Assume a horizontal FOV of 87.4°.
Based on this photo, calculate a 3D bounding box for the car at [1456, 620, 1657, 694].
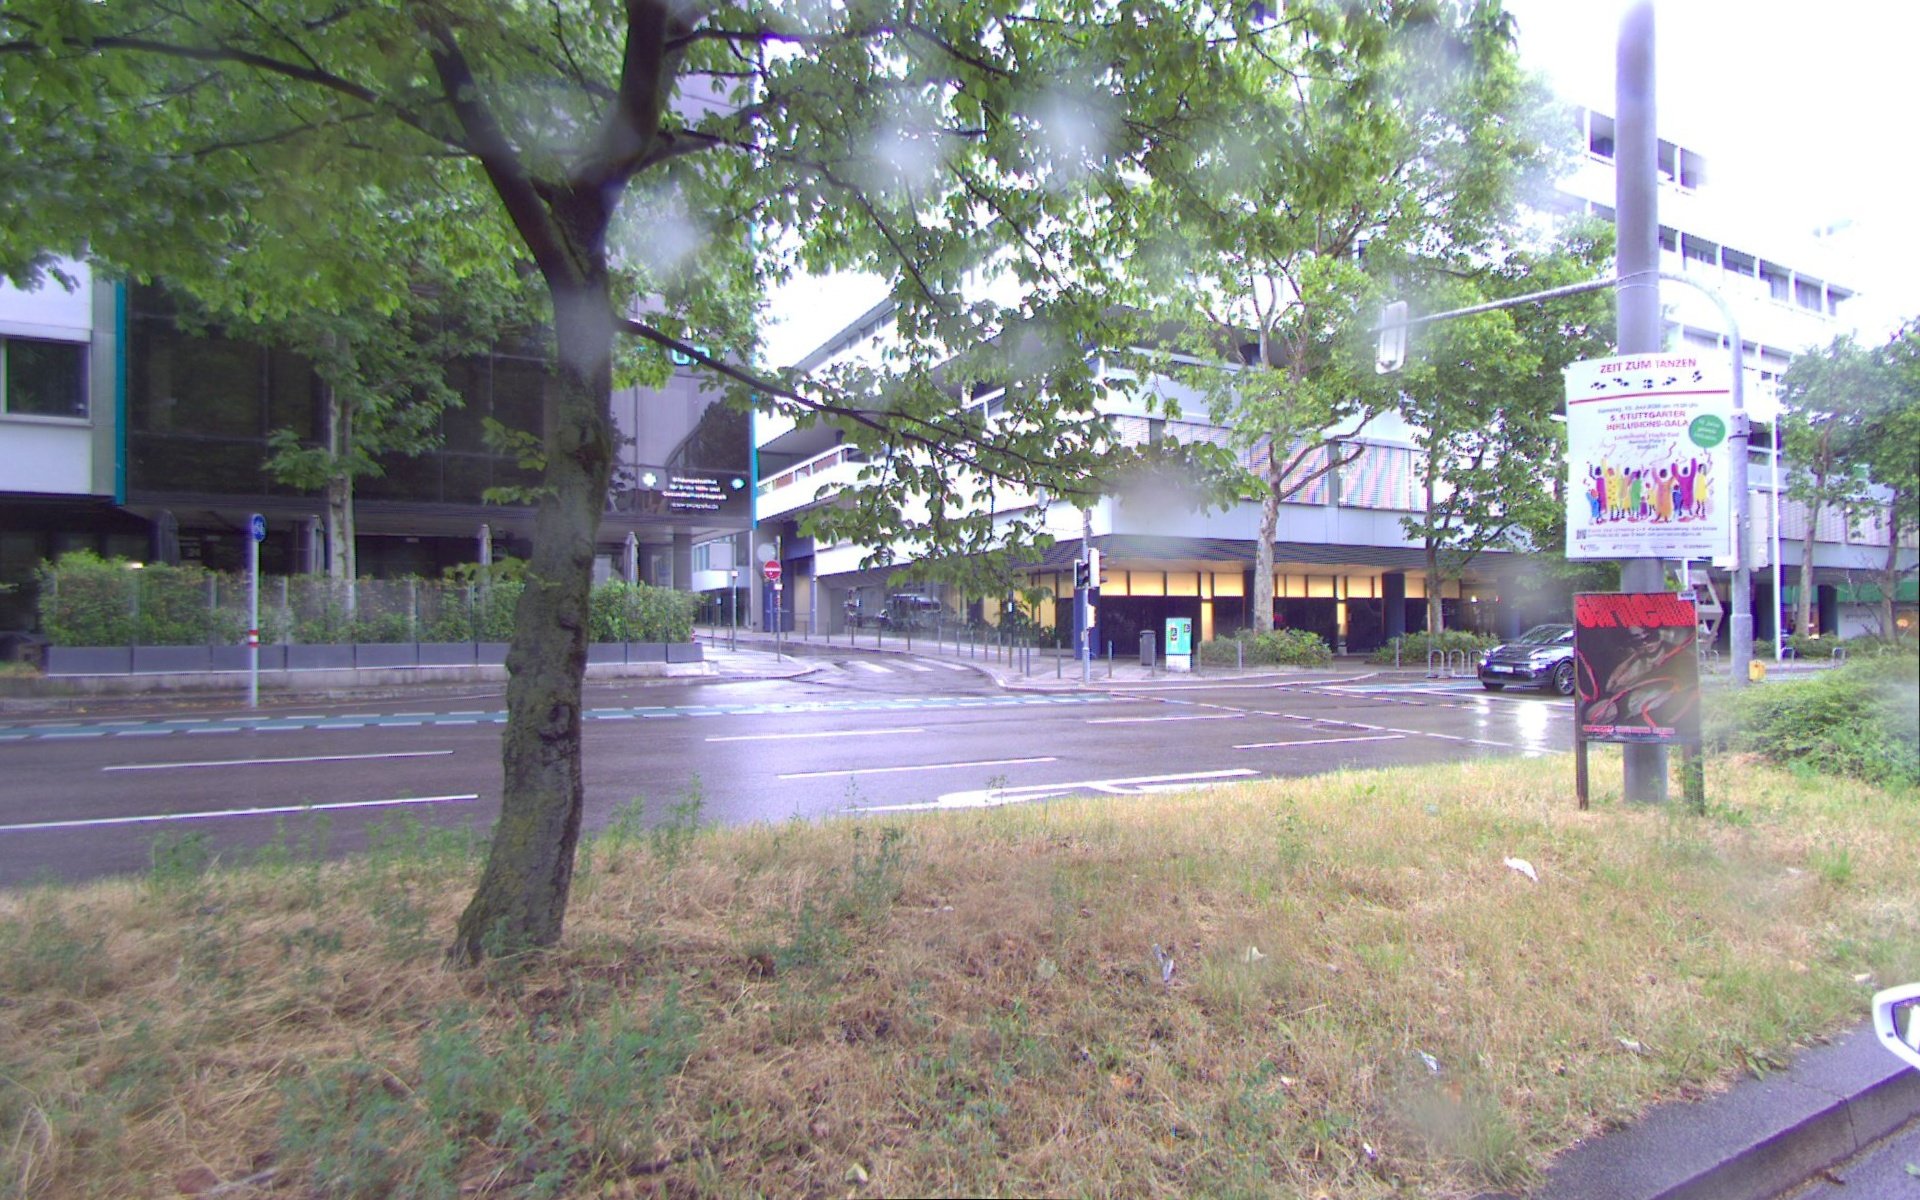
[{"bbox_3d":[14.477,1.365,24.344,4.683,1.605,1.903,2,0,-26],"label":"car"}]

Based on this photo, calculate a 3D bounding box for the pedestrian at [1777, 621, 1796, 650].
[{"bbox_3d":[44.390,1.915,53.924,0.568,1.502,0.606,2,0,-32],"label":"pedestrian"}]
